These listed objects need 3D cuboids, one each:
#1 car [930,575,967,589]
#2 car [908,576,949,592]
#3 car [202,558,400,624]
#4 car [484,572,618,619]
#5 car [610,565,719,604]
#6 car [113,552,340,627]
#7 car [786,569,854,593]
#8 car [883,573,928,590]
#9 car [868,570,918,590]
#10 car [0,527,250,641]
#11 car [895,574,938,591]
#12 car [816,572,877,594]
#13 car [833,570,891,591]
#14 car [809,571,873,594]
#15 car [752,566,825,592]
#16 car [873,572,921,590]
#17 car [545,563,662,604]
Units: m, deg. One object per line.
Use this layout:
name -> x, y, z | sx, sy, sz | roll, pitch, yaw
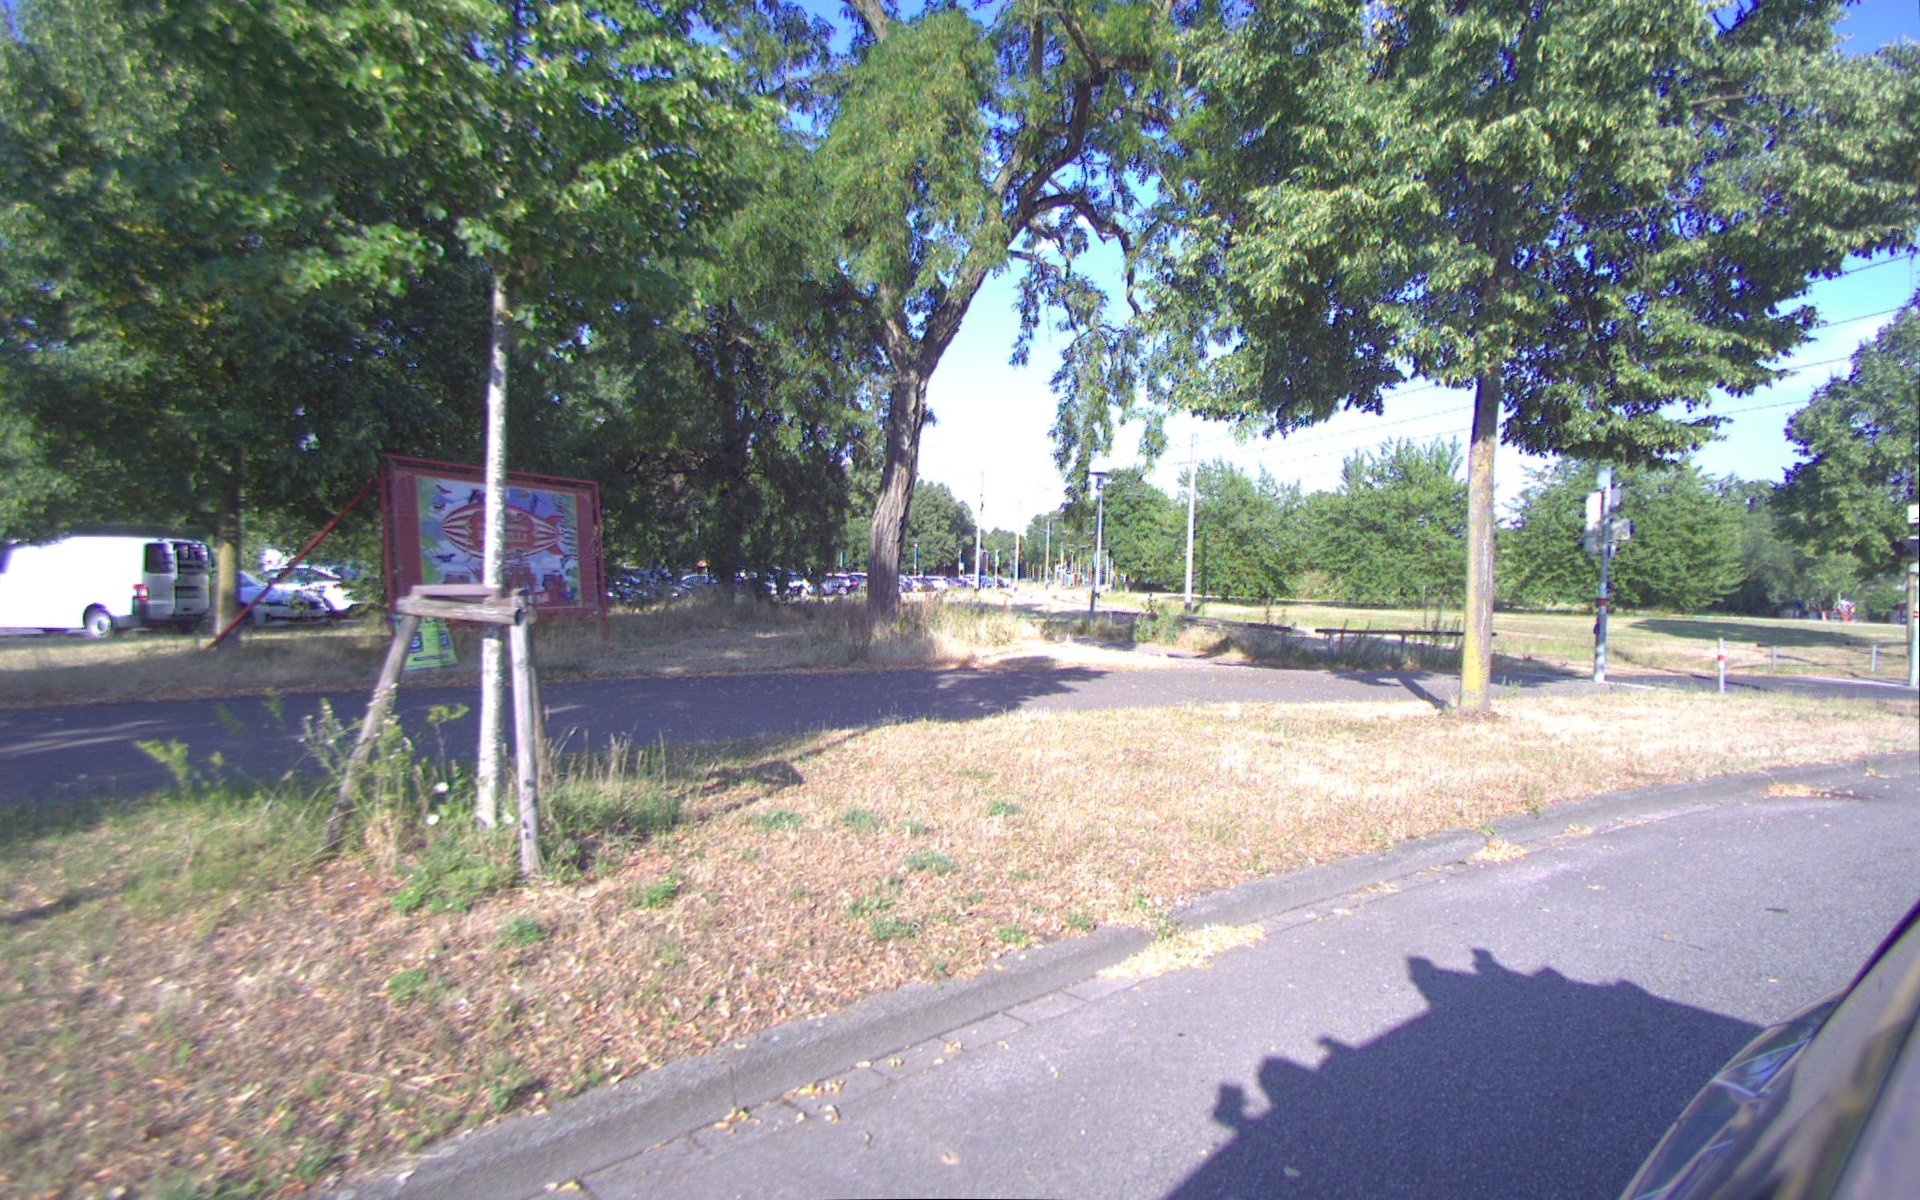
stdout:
car -> -1.187, -1.927, 106.644 | 3.728, 1.307, 1.785 | 2, 1, 3
car -> -2.910, -1.550, 94.896 | 3.728, 1.388, 1.785 | 2, 1, 3
car -> -16.186, -0.242, 24.934 | 3.937, 1.461, 1.865 | 2, 1, 11
car -> -14.078, -0.187, 34.936 | 3.937, 1.461, 1.865 | 2, 1, 11
car -> -12.216, -0.644, 41.963 | 3.937, 1.461, 1.865 | 2, 1, 11
car -> -16.019, -0.251, 22.170 | 3.937, 1.461, 1.865 | 2, 1, 11
car -> -8.571, -1.184, 62.071 | 3.735, 1.388, 1.782 | 2, 1, 9
car -> -4.708, -1.601, 87.336 | 3.728, 1.388, 1.785 | 2, 1, 3
car -> -5.243, -1.575, 79.453 | 3.728, 1.388, 1.785 | 2, 1, 3
car -> -16.973, -0.353, 19.724 | 5.137, 2.038, 2.262 | 1, 1, 11
car -> -3.872, -1.603, 90.219 | 3.728, 1.388, 1.785 | 2, 1, 3
car -> -7.603, -1.153, 68.023 | 3.735, 1.388, 1.782 | 2, 1, 9
car -> -6.882, -1.379, 71.172 | 3.735, 1.388, 1.782 | 2, 1, 9
car -> -7.692, -1.163, 65.584 | 3.735, 1.388, 1.782 | 2, 1, 9
car -> -9.860, -1.208, 58.306 | 3.735, 1.388, 1.782 | 2, 1, 9
car -> -5.107, -1.563, 82.069 | 3.728, 1.388, 1.785 | 2, 1, 3
car -> -13.965, -0.666, 39.692 | 3.937, 1.461, 1.865 | 2, 1, 11
